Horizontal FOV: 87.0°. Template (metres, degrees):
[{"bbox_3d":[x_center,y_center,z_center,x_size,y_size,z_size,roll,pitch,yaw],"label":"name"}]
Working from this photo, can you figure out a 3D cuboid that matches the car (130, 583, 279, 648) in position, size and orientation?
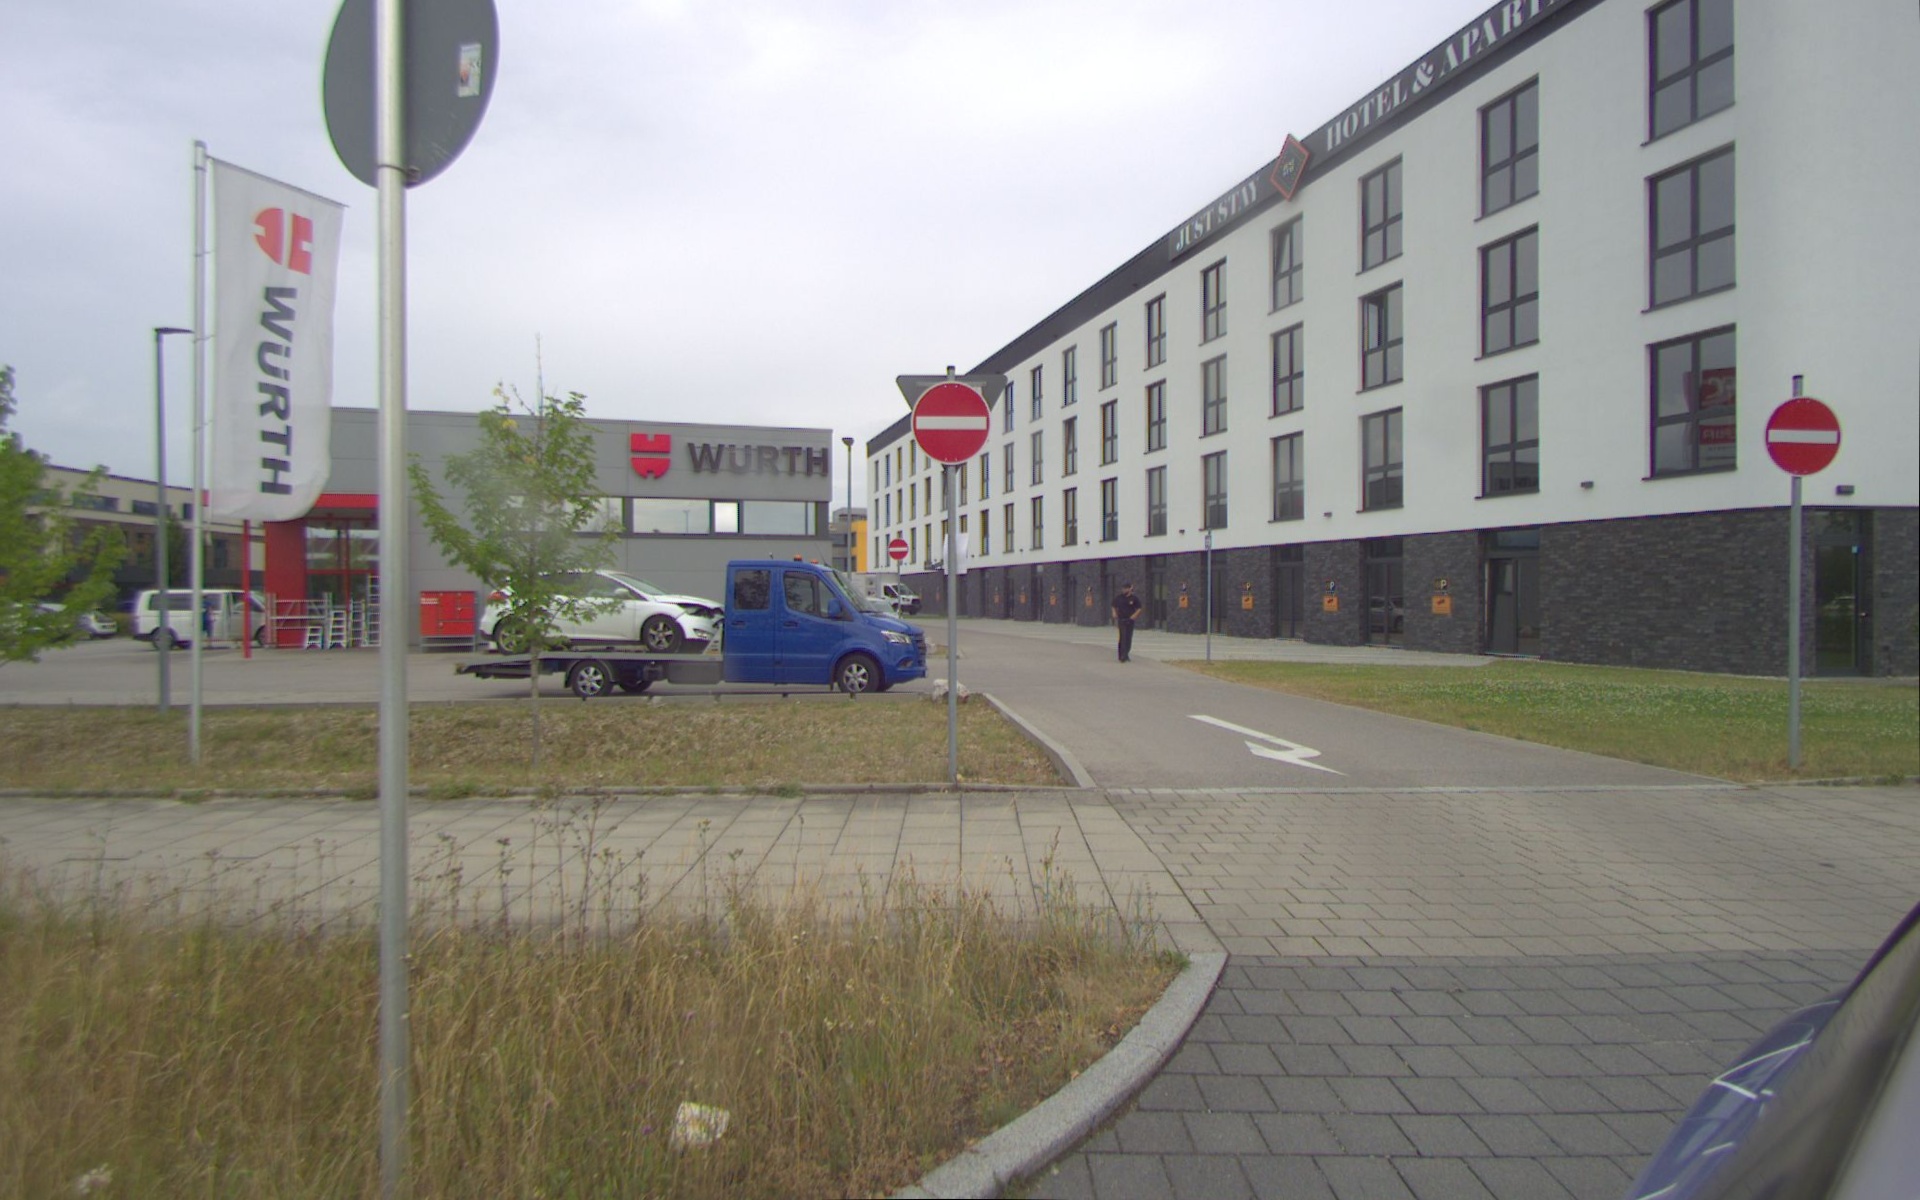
[{"bbox_3d":[-25.361,0.476,34.100,3.599,2.004,1.680,-2,1,-16],"label":"car"}]

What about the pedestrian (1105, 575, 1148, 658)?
[{"bbox_3d":[3.783,0.357,23.030,0.695,1.845,0.814,-1,0,-11],"label":"pedestrian"}]

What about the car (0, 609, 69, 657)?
[{"bbox_3d":[-37.721,1.313,39.101,4.643,1.770,1.762,-2,0,-14],"label":"car"}]

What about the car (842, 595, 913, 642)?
[{"bbox_3d":[-2.917,0.579,34.876,1.940,1.510,4.779,1,0,-10],"label":"car"}]

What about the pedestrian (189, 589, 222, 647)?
[{"bbox_3d":[-24.422,0.568,32.780,0.645,1.830,0.651,-1,0,-15],"label":"pedestrian"}]

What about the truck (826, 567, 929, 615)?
[{"bbox_3d":[-5.712,-0.595,69.223,7.020,3.054,2.407,-1,1,35],"label":"truck"}]

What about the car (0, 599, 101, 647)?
[{"bbox_3d":[-38.499,0.925,41.940,3.916,1.883,2.004,-1,0,-15],"label":"car"}]

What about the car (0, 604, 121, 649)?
[{"bbox_3d":[-40.518,1.152,45.431,3.916,1.883,2.004,-1,0,-15],"label":"car"}]

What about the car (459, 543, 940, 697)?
[{"bbox_3d":[-4.305,0.341,17.387,7.718,2.352,2.198,-1,0,5],"label":"car"}]
